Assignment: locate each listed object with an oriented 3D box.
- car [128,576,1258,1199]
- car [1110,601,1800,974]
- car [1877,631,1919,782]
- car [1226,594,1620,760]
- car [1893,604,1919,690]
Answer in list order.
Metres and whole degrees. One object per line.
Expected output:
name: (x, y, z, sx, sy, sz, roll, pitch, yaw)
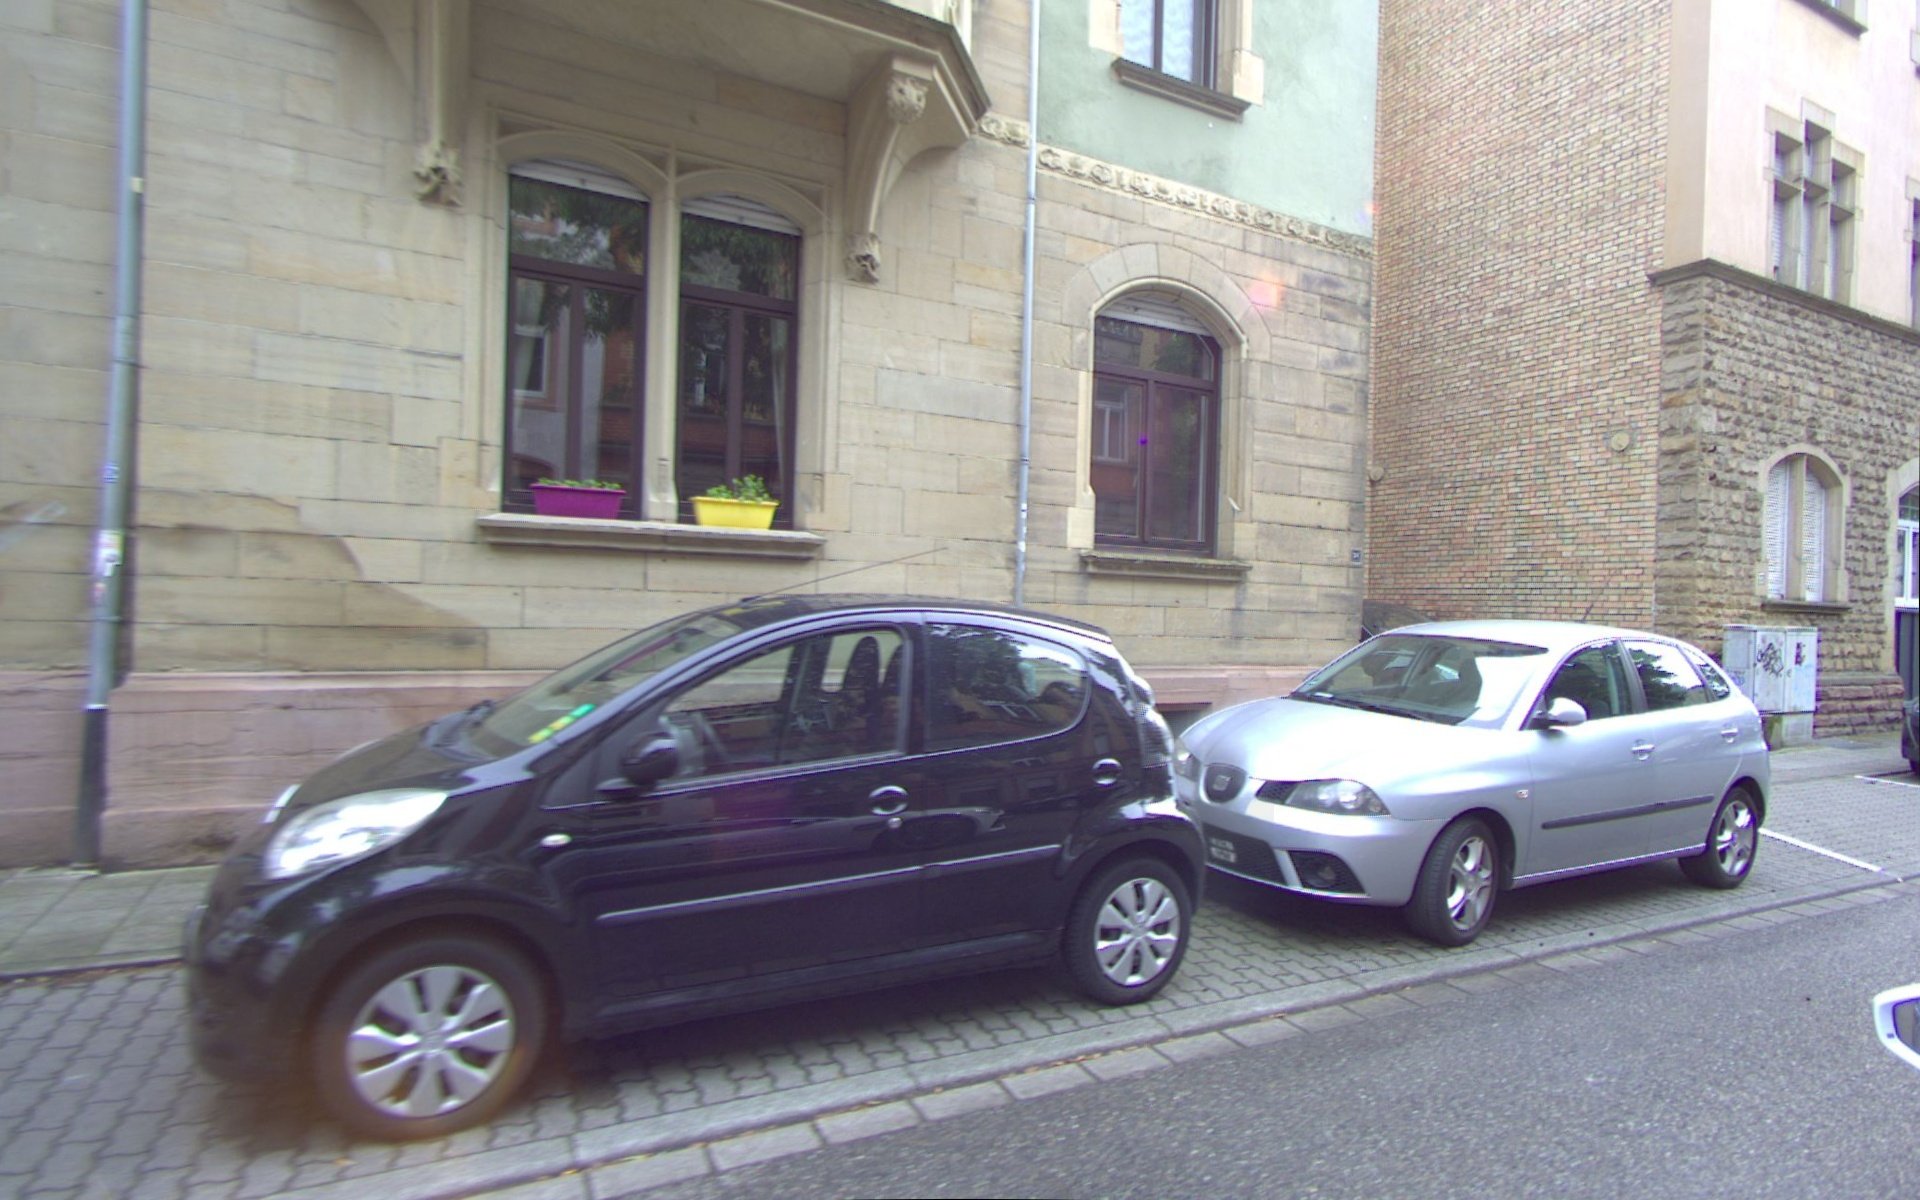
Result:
car: (-0.722, 0.695, 3.766, 3.411, 1.453, 1.511, 1, 1, -27)
car: (2.851, 0.794, 5.646, 3.763, 1.453, 1.582, 1, 1, -29)
car: (11.266, 1.095, 10.143, 3.832, 1.453, 1.721, 1, 1, -27)
car: (5.155, 0.752, 11.758, 1.745, 1.585, 3.973, 2, -1, -26)
car: (24.038, 1.152, 24.384, 3.935, 1.994, 1.809, 2, -1, -44)
